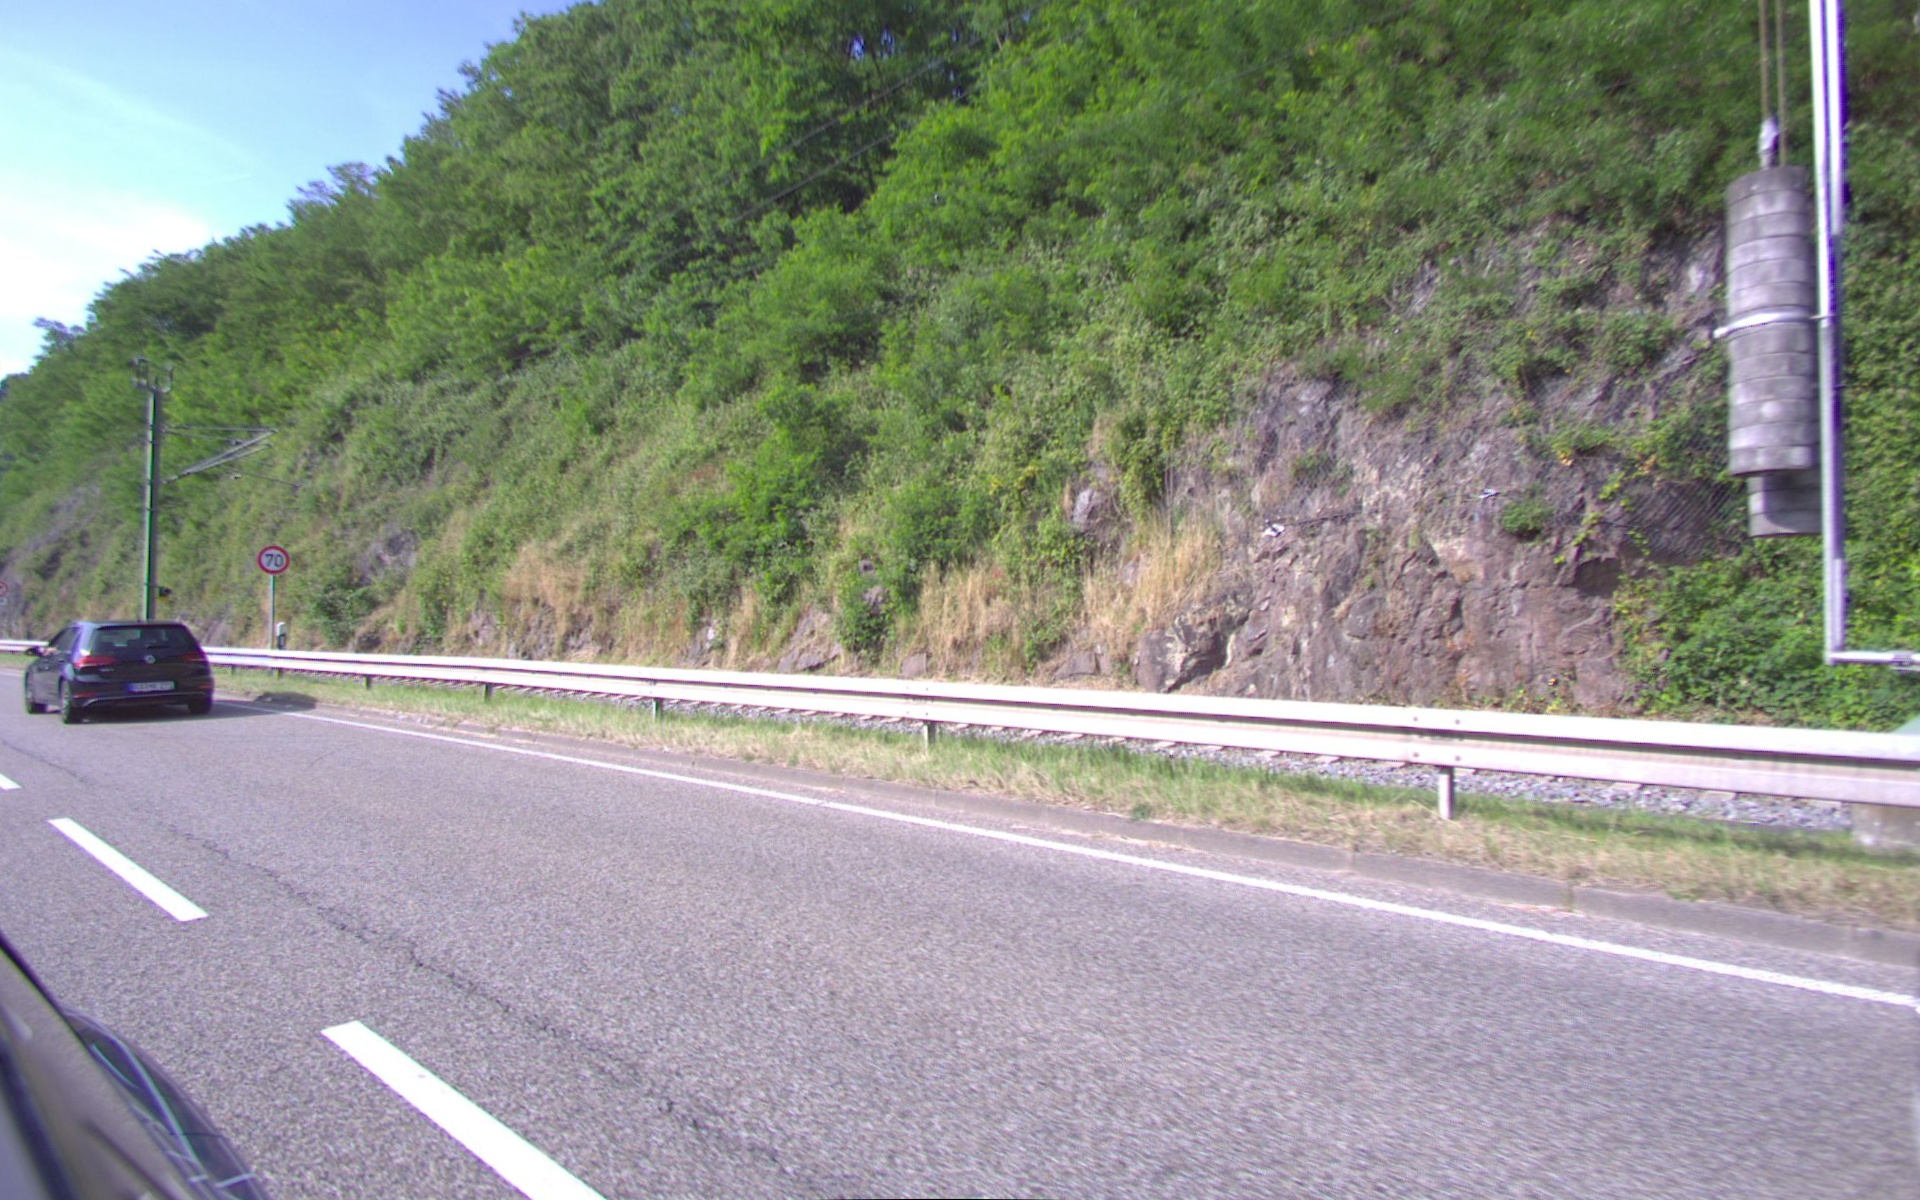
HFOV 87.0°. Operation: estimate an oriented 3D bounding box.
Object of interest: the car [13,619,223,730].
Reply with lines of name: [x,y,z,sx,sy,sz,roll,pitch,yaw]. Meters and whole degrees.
car: [-12.990,1.048,15.545,3.894,1.451,1.828,-1,-1,40]
